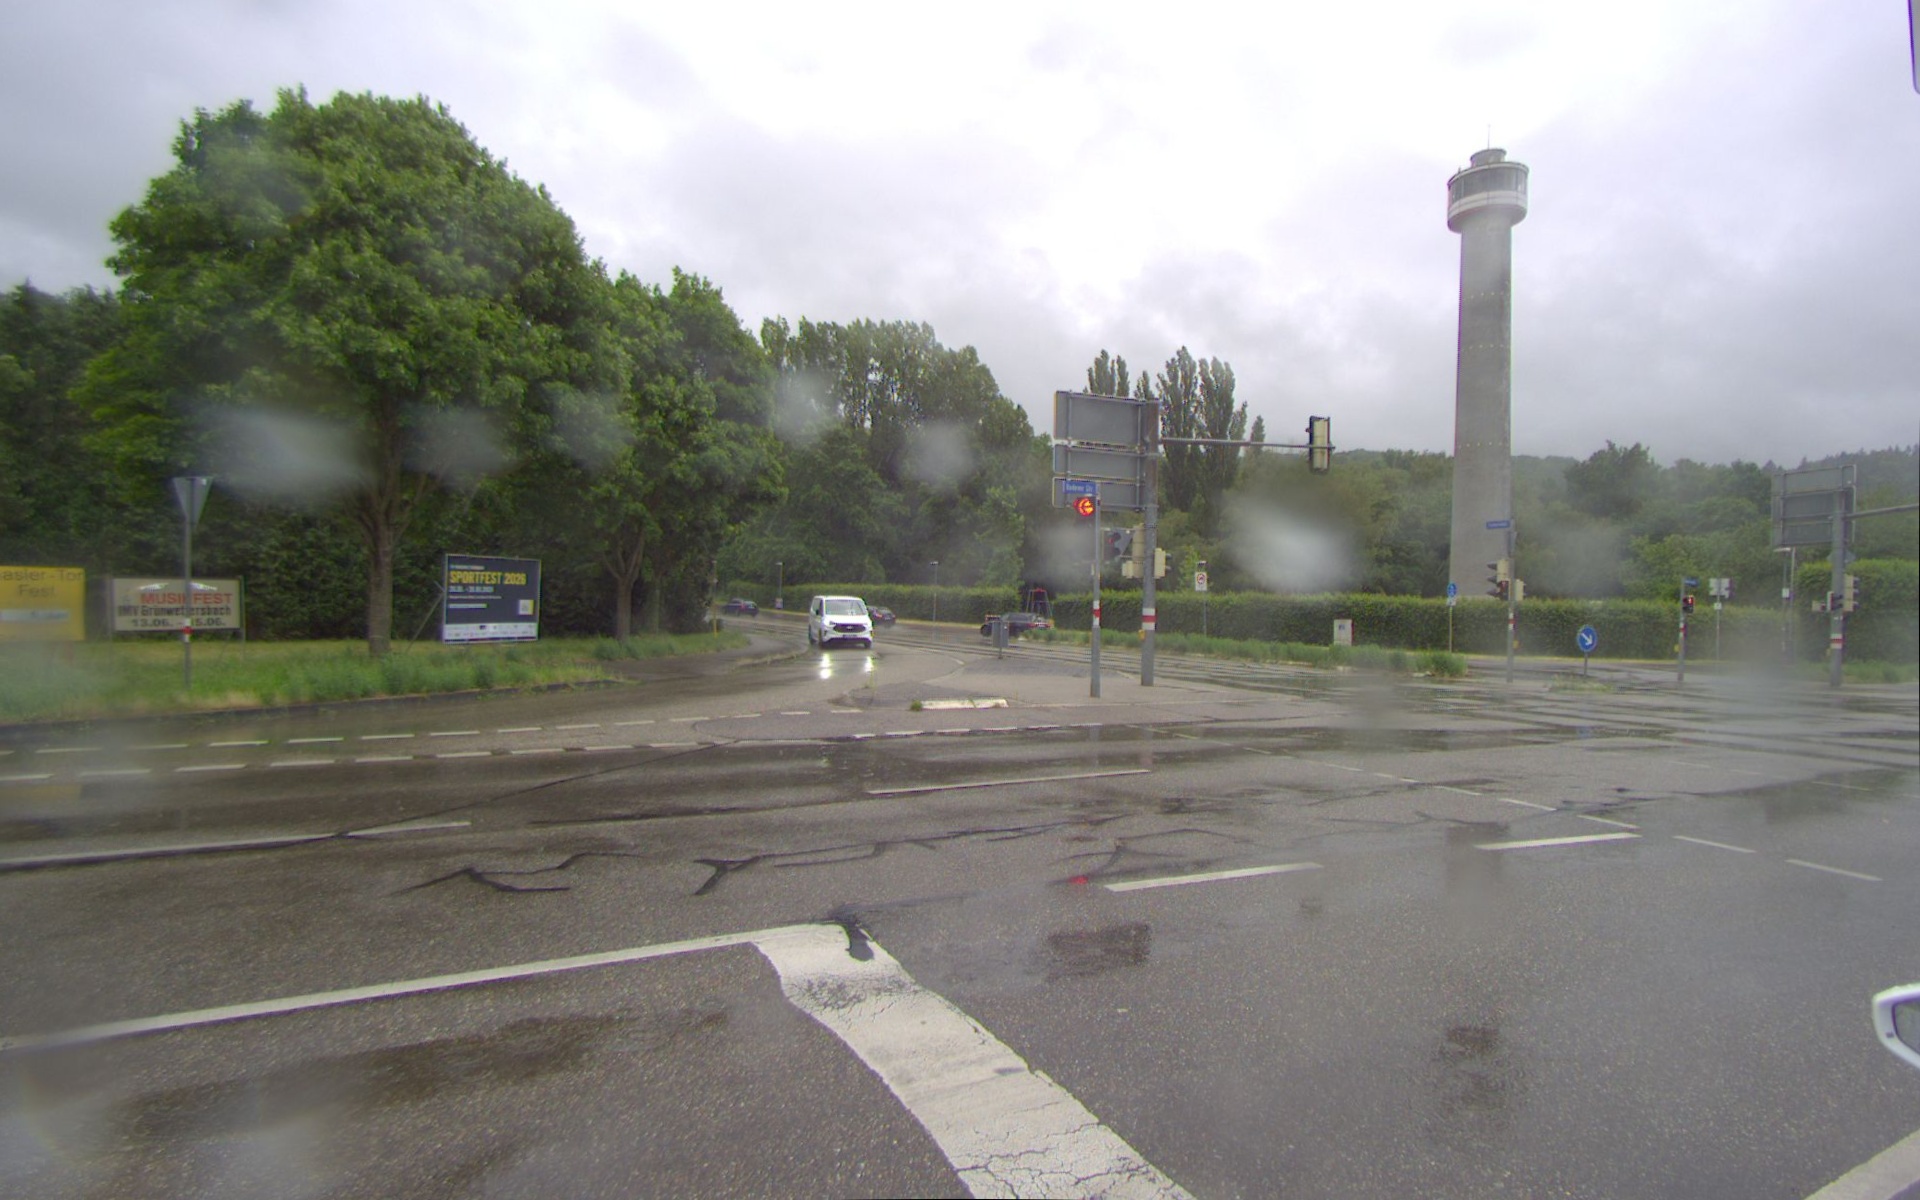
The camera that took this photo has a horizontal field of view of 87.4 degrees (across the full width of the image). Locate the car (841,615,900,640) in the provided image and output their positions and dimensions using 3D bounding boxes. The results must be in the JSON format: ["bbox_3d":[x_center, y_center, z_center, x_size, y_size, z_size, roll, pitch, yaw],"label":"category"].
[{"bbox_3d":[-6.136,1.843,68.223,1.806,1.574,4.636,1,-1,-37],"label":"car"}]

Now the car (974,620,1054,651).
[{"bbox_3d":[2.986,1.965,56.526,1.808,1.574,4.629,1,-1,-40],"label":"car"}]

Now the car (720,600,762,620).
[{"bbox_3d":[-18.374,0.850,84.119,1.804,1.574,4.639,1,-1,-35],"label":"car"}]

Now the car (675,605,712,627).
[{"bbox_3d":[-24.742,1.447,93.141,1.896,1.941,4.638,1,-1,-35],"label":"car"}]

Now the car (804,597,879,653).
[{"bbox_3d":[-4.735,1.020,39.672,2.082,2.040,4.736,1,-2,-17],"label":"car"}]
